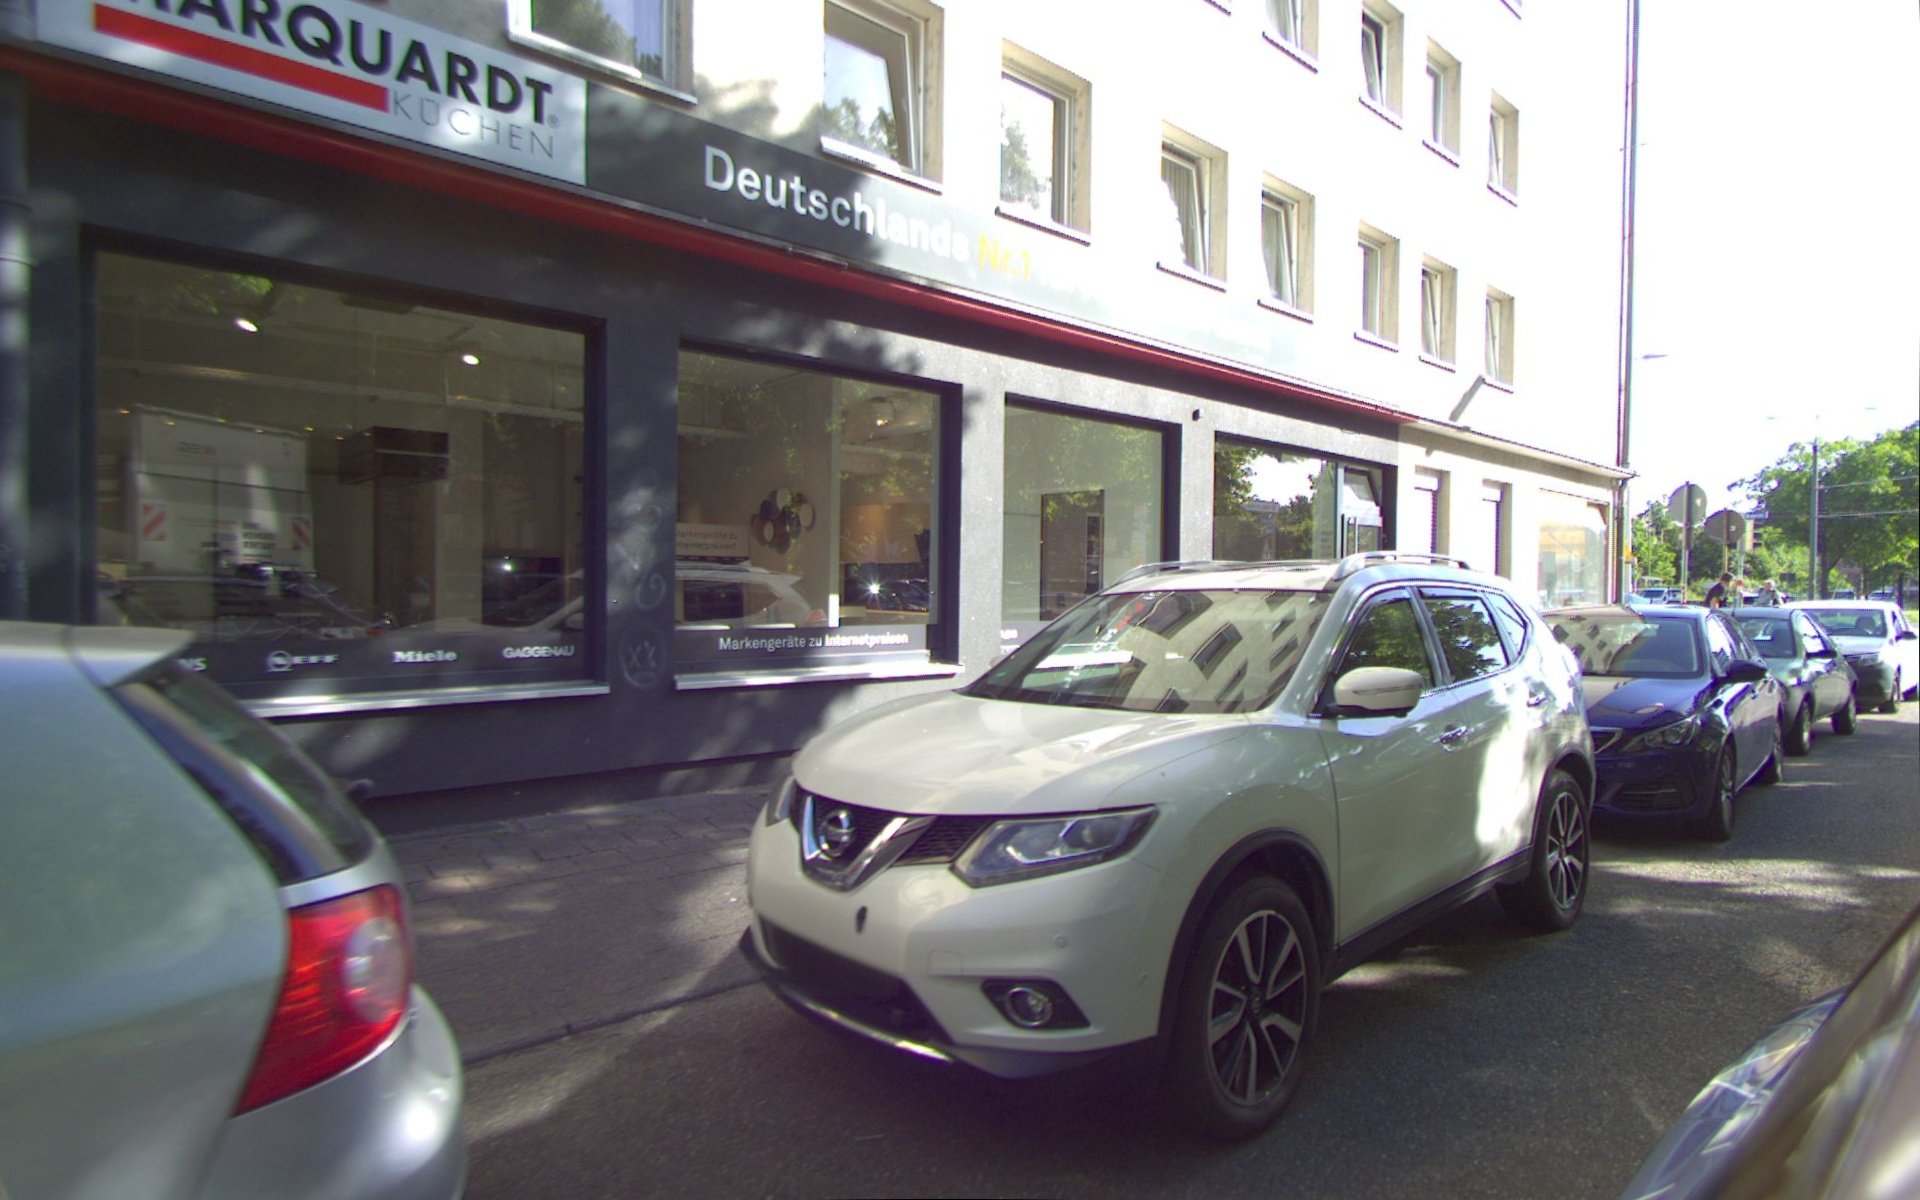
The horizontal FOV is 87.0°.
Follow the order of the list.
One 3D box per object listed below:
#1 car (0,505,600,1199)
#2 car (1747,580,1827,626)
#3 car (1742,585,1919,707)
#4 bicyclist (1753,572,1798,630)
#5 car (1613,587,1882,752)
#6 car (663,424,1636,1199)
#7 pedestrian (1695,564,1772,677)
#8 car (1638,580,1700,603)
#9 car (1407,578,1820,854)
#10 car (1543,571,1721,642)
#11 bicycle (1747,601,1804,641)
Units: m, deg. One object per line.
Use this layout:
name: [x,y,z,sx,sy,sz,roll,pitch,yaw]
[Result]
car: [-2.681,0.643,0.814,4.165,1.519,1.765,0,2,-42]
car: [30.503,0.065,37.460,1.912,1.537,4.973,2,2,35]
car: [13.043,0.568,14.815,3.951,1.516,1.723,0,2,-40]
bicyclist: [22.553,0.018,27.998,0.820,1.583,0.590,2,1,28]
car: [8.675,0.619,11.058,3.608,1.481,1.600,0,2,-40]
car: [1.211,0.480,4.291,4.434,1.775,1.764,0,2,-43]
pedestrian: [12.393,0.308,16.223,0.731,1.743,0.761,0,1,-35]
car: [47.266,-0.587,67.448,4.397,1.474,1.875,0,1,-33]
car: [5.159,0.599,7.702,1.803,1.481,4.369,2,2,44]
car: [18.539,0.116,28.196,1.838,1.797,4.487,1,1,-1]
bicycle: [22.570,0.570,28.051,0.821,0.998,1.928,2,2,27]
